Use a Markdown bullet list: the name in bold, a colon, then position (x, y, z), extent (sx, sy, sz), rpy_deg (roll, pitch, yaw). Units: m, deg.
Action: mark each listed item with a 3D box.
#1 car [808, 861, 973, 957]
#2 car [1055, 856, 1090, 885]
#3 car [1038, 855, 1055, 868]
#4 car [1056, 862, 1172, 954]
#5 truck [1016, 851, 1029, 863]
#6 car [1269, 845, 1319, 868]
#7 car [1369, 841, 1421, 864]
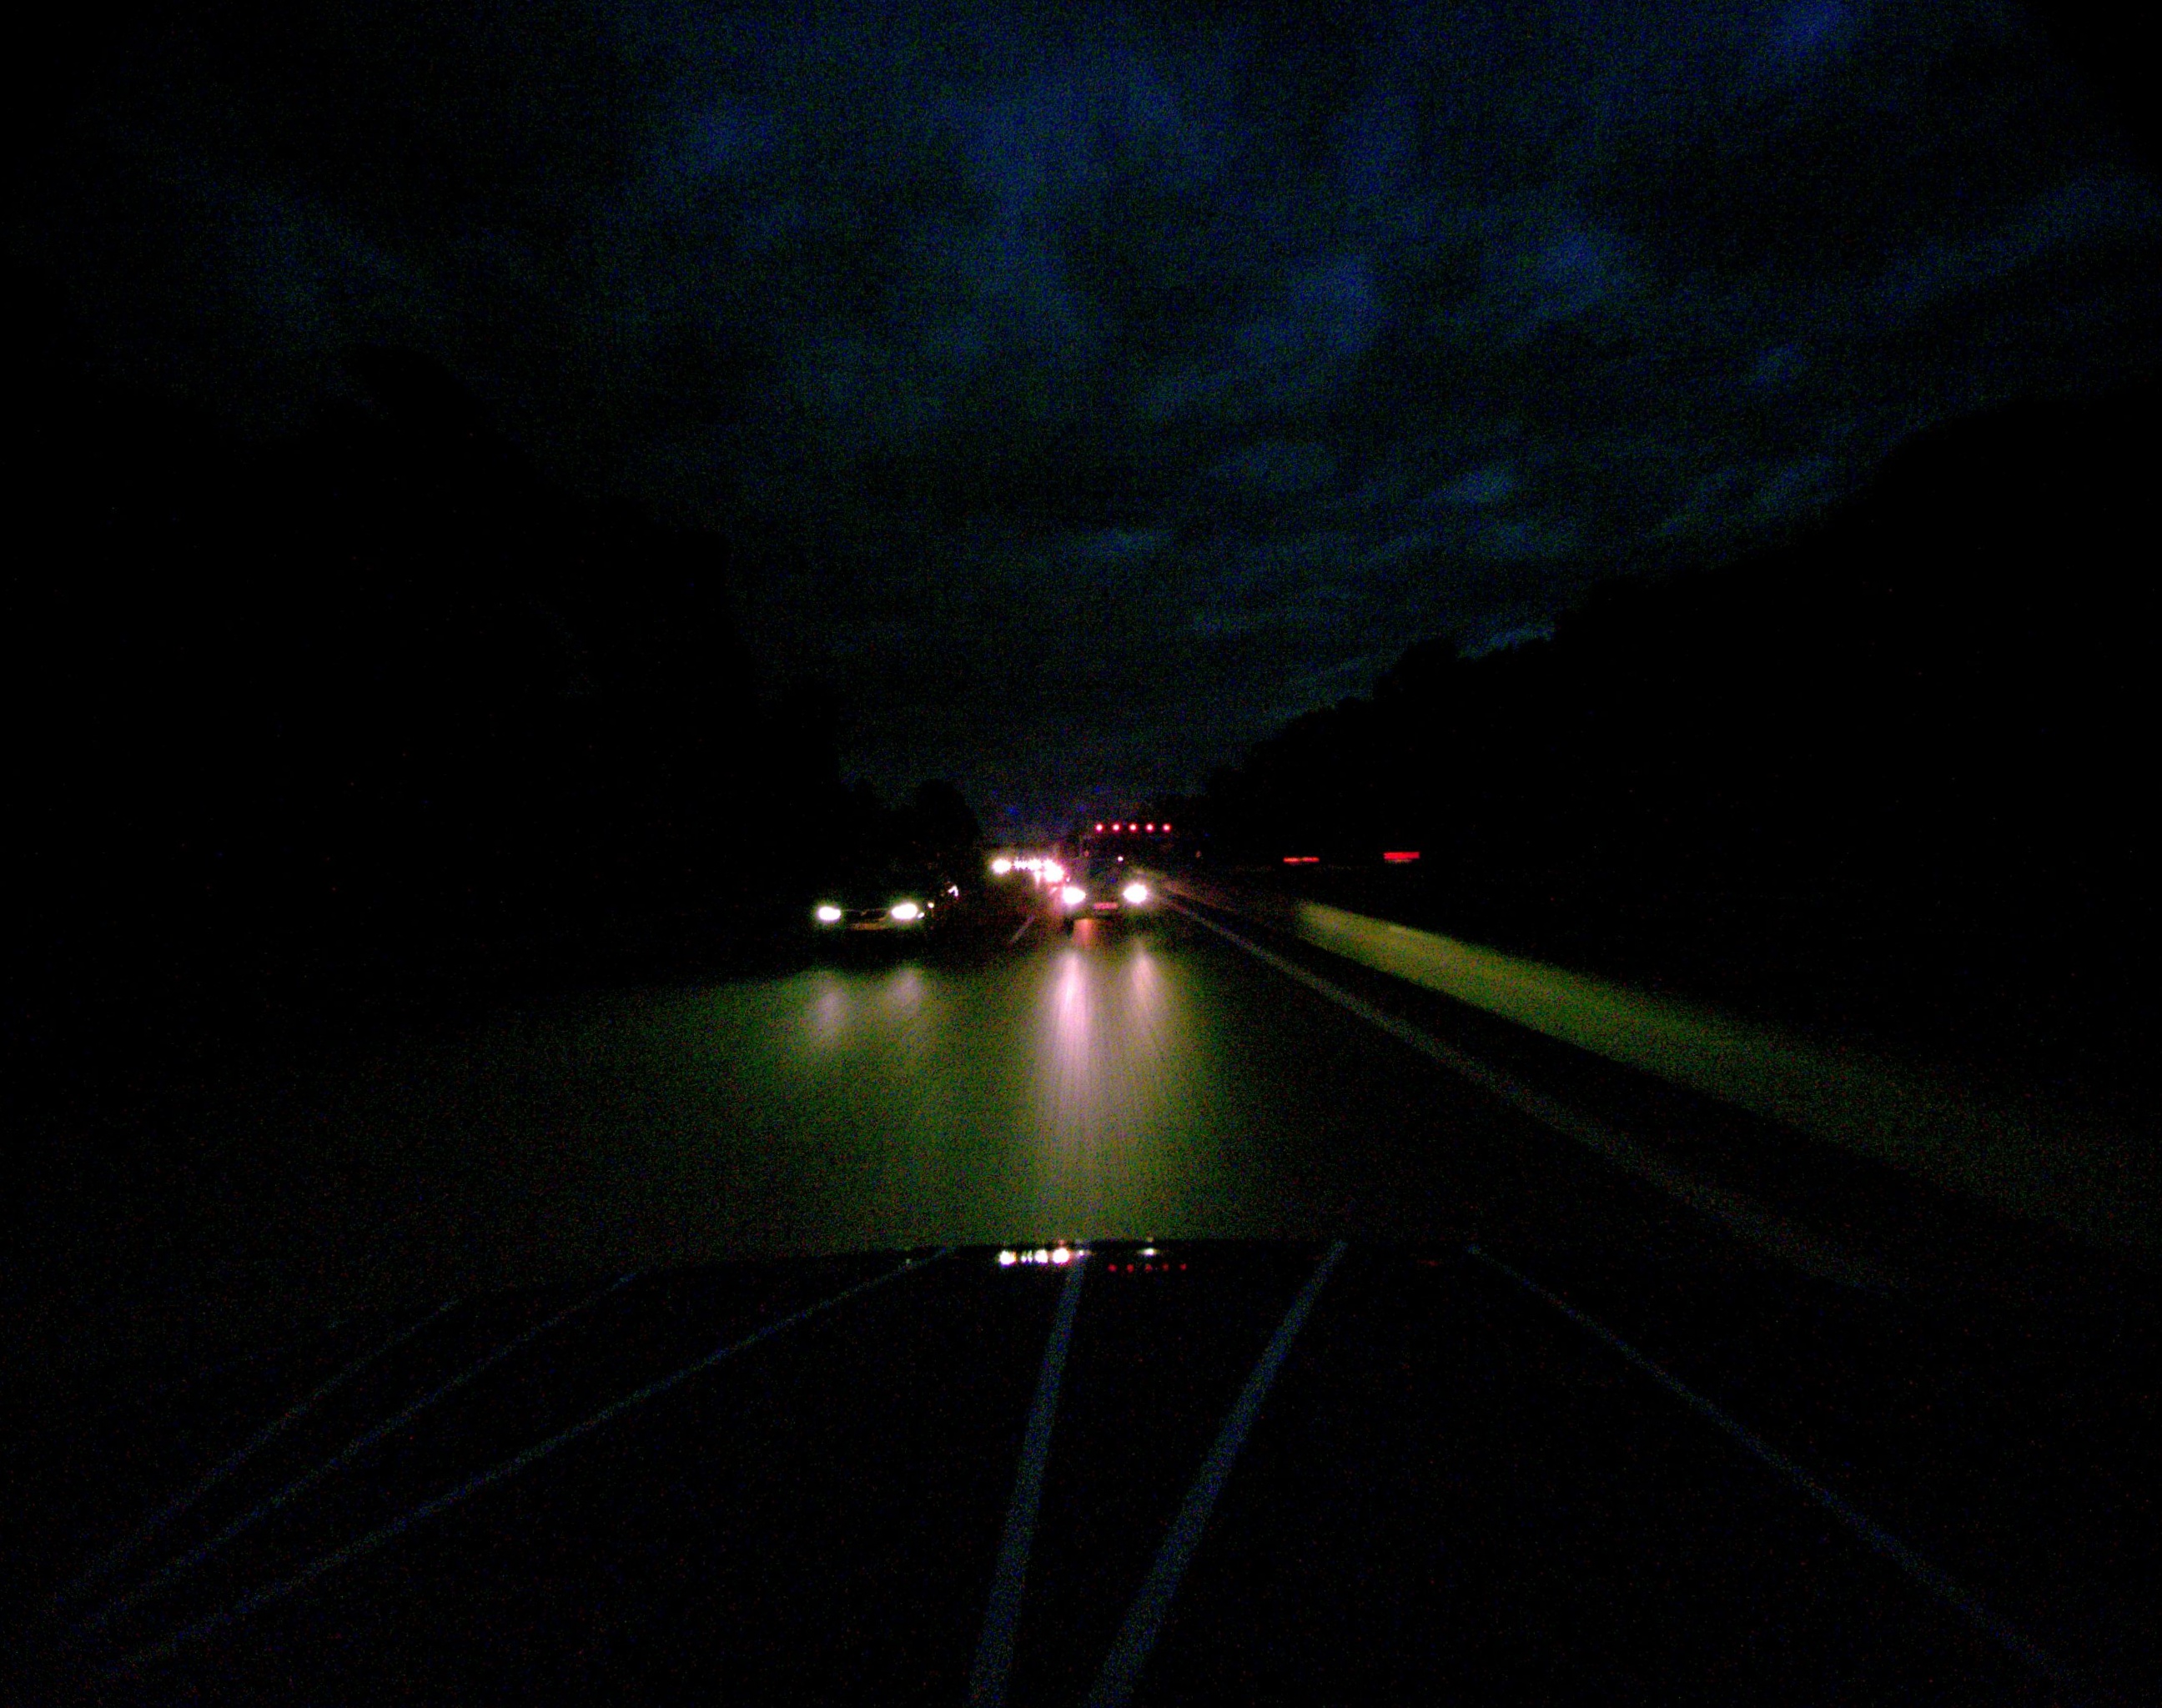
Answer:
- **car**: position (-3.613, 0.963, 15.560), extent (1.914, 1.528, 5.231), rpy_deg (-1, 0, 1)
- **car**: position (-0.427, 0.872, 42.521), extent (1.813, 1.457, 5.131), rpy_deg (-1, 1, 1)
- **car**: position (-4.388, 0.956, 95.332), extent (1.999, 1.539, 3.999), rpy_deg (-1, -1, -4)
- **car**: position (0.526, 0.905, 14.711), extent (1.880, 1.435, 4.450), rpy_deg (-1, 0, -1)
- **truck**: position (-20.048, 1.114, 259.596), extent (3.148, 3.986, 10.537), rpy_deg (-1, -1, -10)
- **car**: position (14.792, 0.197, 52.954), extent (1.847, 1.455, 4.775), rpy_deg (-3, 0, -3)
- **car**: position (21.907, -0.098, 53.178), extent (1.847, 1.455, 4.000), rpy_deg (-3, 0, -1)
